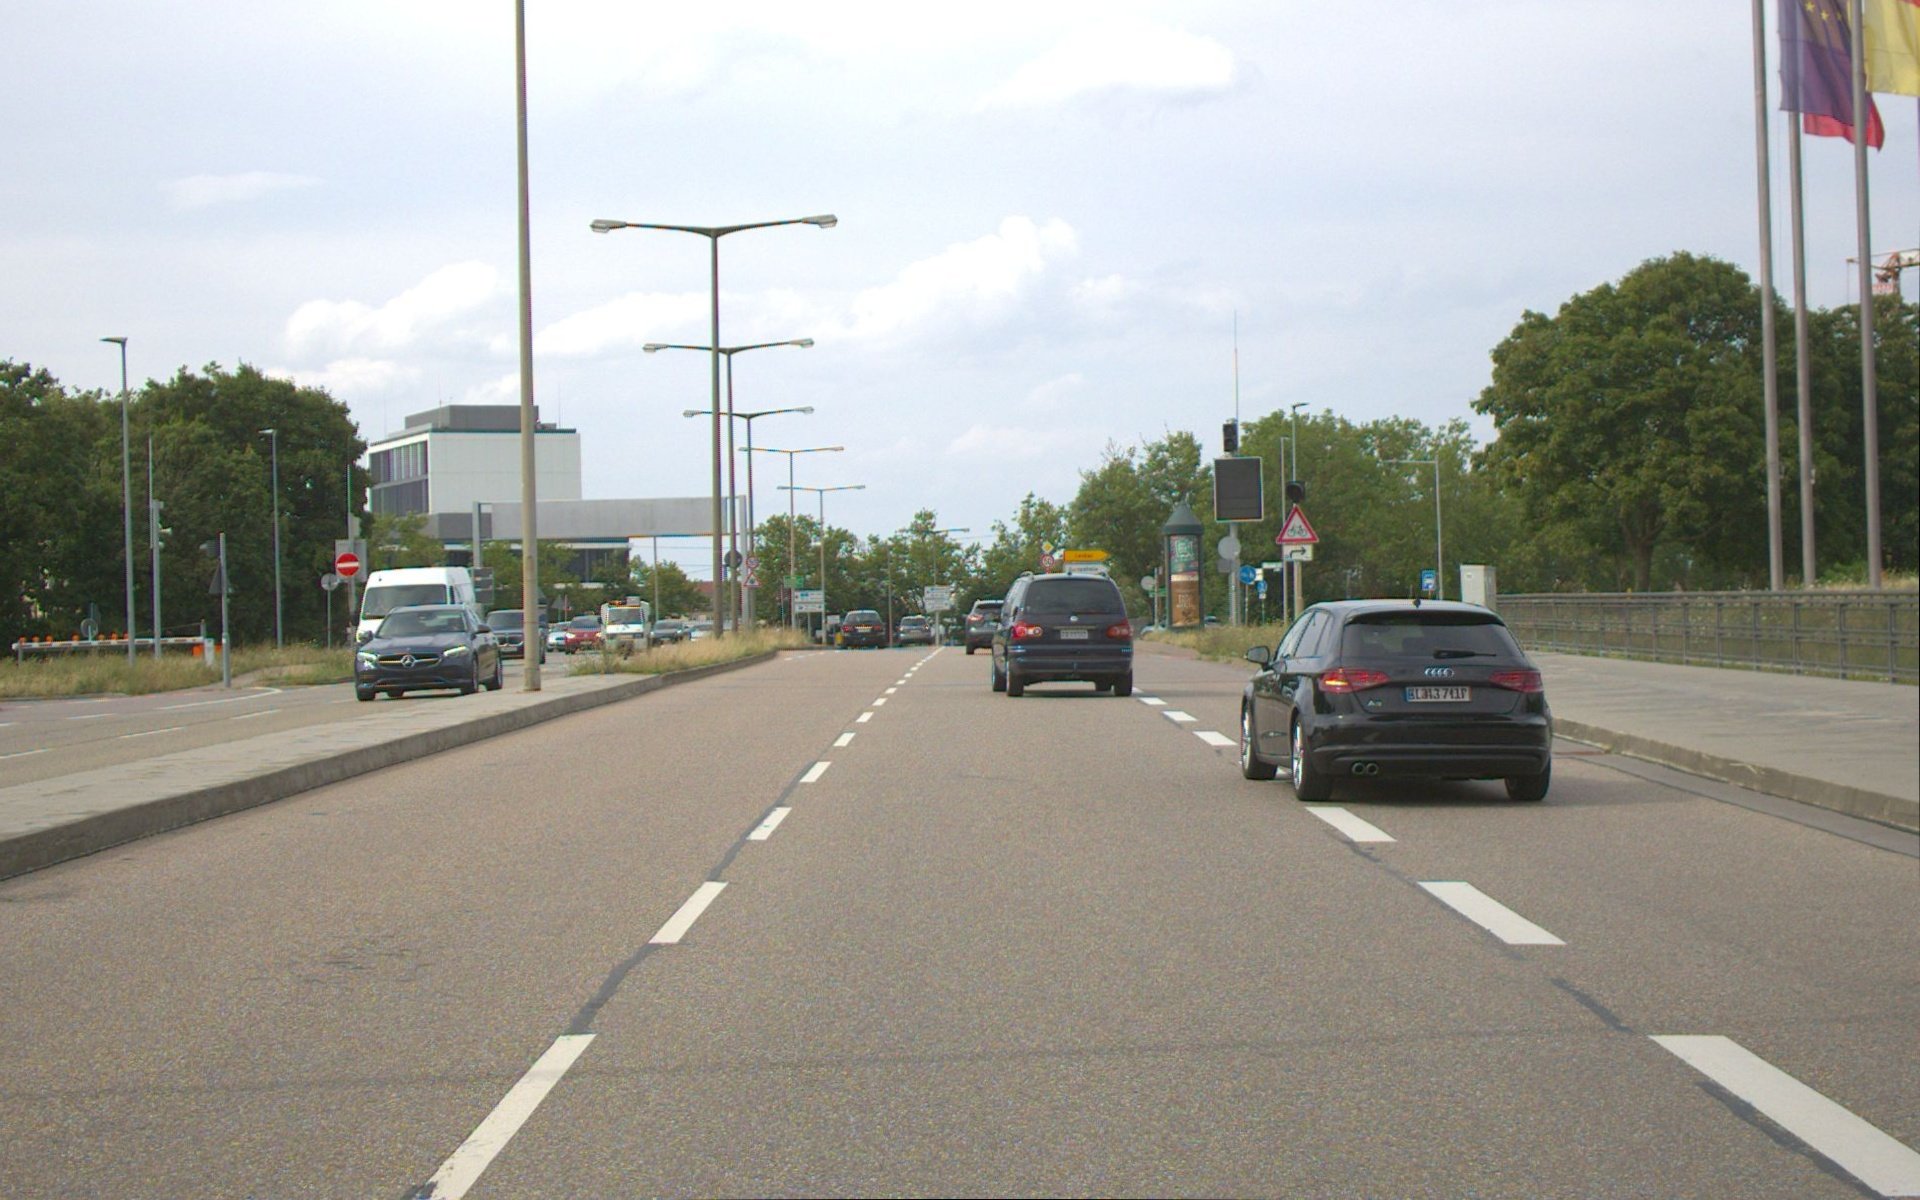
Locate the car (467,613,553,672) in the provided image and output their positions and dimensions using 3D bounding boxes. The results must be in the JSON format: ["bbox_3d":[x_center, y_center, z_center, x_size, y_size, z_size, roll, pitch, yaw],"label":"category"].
[{"bbox_3d":[-13.108,1.221,100.364,1.747,1.580,4.586,-3,0,1],"label":"car"}]

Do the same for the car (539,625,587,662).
[{"bbox_3d":[-18.913,2.077,163.981,1.993,1.744,4.000,0,0,-3],"label":"car"}]

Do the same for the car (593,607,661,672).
[{"bbox_3d":[-9.994,1.173,103.405,1.540,1.865,3.570,-3,0,1],"label":"car"}]

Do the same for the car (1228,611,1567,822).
[{"bbox_3d":[3.093,0.813,25.098,1.730,1.390,4.115,-1,-1,-3],"label":"car"}]

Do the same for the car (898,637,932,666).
[{"bbox_3d":[-2.371,2.713,180.852,1.730,1.521,4.115,0,-1,-1],"label":"car"}]

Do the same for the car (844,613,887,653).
[{"bbox_3d":[-3.894,1.374,142.521,1.730,1.647,4.115,0,-1,-1],"label":"car"}]

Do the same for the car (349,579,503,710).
[{"bbox_3d":[-11.535,0.936,74.719,2.053,2.634,6.399,-3,0,2],"label":"car"}]

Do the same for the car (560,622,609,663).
[{"bbox_3d":[-15.616,1.766,143.112,1.651,1.569,4.338,-3,-1,-2],"label":"car"}]

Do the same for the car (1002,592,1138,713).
[{"bbox_3d":[1.522,0.748,48.940,1.730,1.647,4.115,0,-1,-1],"label":"car"}]

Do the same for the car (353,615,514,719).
[{"bbox_3d":[-8.182,1.047,53.795,1.738,1.476,4.776,-3,-1,0],"label":"car"}]

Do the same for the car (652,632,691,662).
[{"bbox_3d":[-14.777,2.422,176.390,1.745,1.471,4.565,-2,-1,-2],"label":"car"}]

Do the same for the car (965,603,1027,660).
[{"bbox_3d":[1.048,0.952,101.453,1.730,1.647,4.115,0,-1,-1],"label":"car"}]
